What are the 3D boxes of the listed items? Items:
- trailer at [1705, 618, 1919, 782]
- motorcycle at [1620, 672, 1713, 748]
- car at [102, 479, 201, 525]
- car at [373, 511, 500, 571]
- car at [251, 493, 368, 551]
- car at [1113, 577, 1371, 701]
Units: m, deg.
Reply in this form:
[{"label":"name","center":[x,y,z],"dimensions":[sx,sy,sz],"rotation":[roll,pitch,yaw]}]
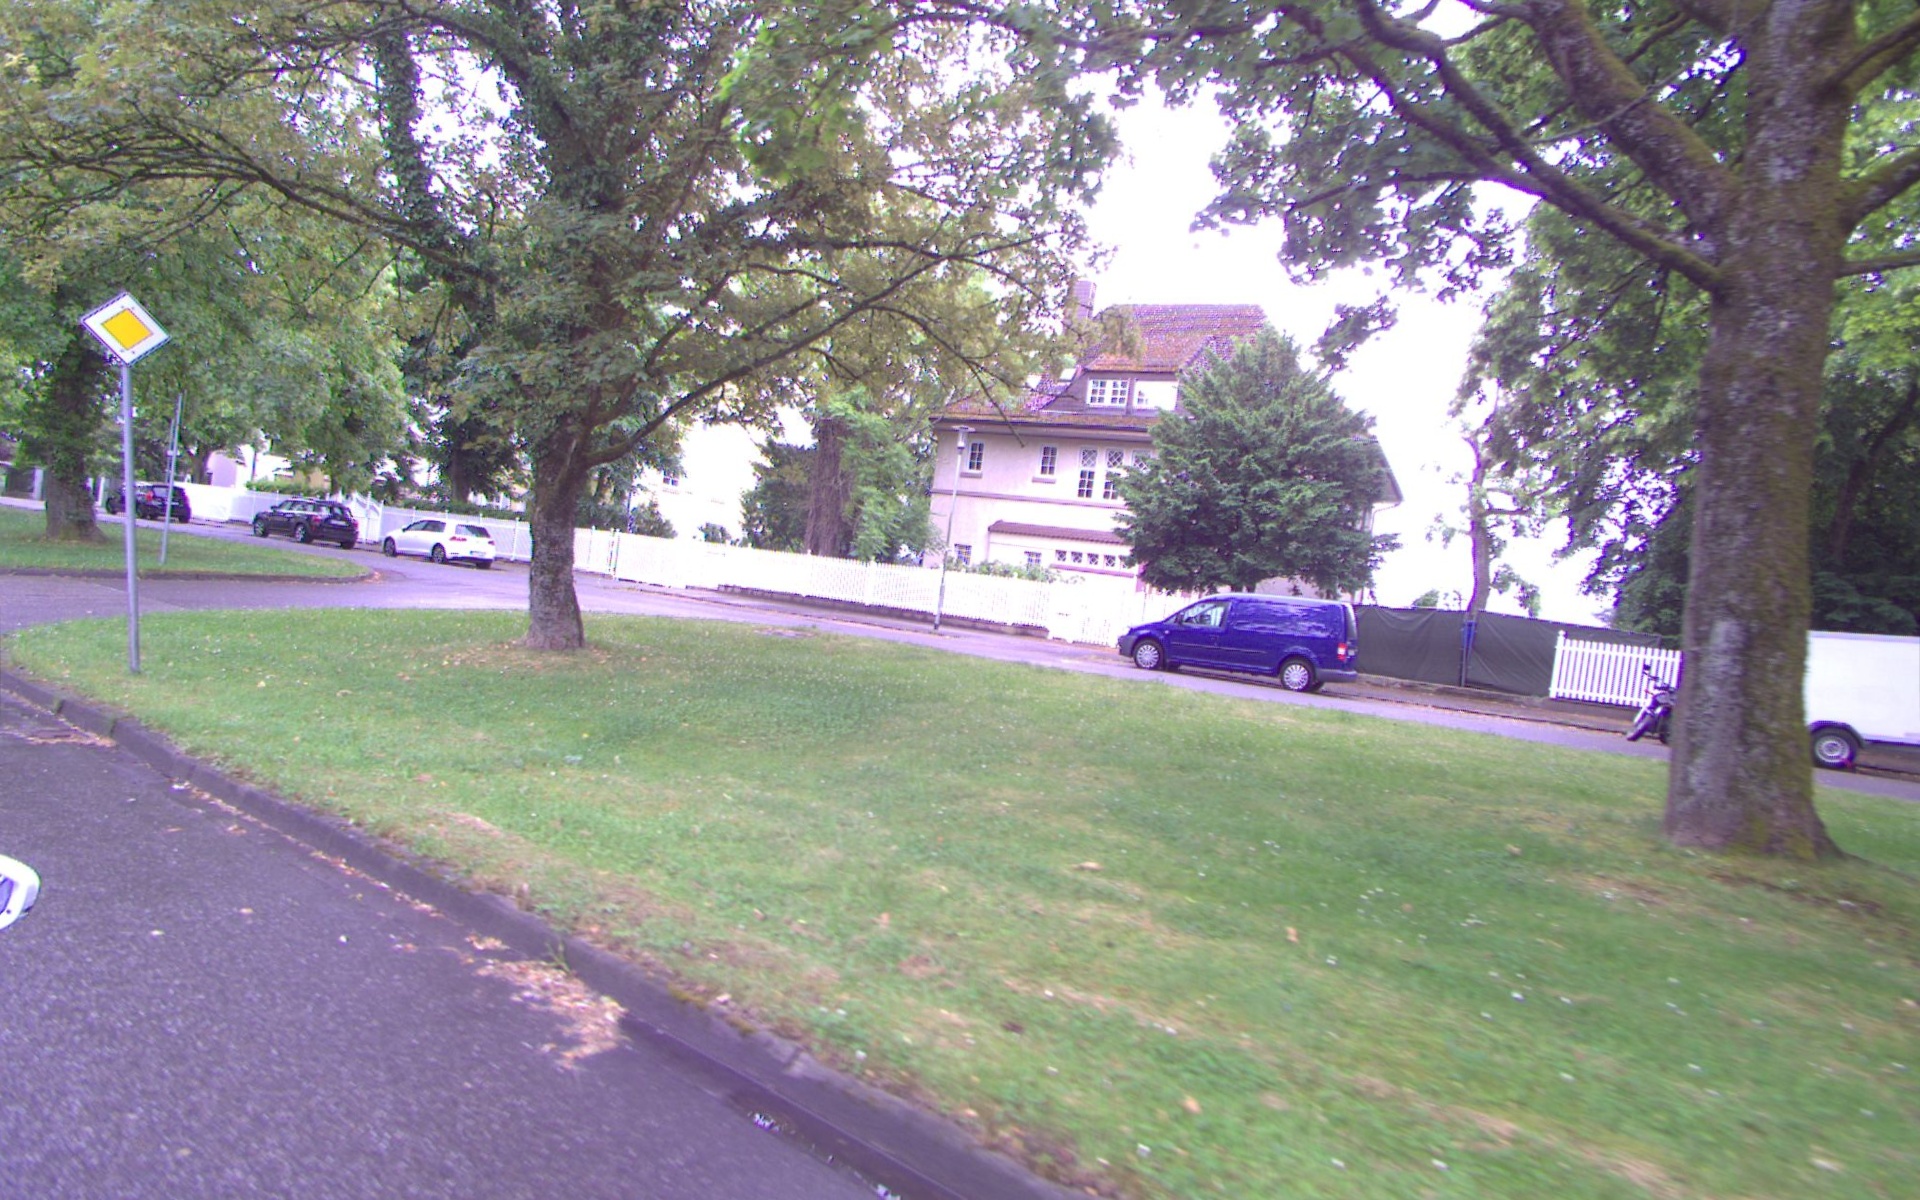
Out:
[{"label":"trailer","center":[13.813,1.543,15.849],"dimensions":[2.899,2.182,1.438],"rotation":[7,2,27]},{"label":"motorcycle","center":[11.794,1.844,16.778],"dimensions":[1.876,1.106,0.651],"rotation":[7,2,-39]},{"label":"car","center":[-33.738,-4.096,41.953],"dimensions":[4.042,1.430,1.803],"rotation":[8,2,30]},{"label":"car","center":[-17.044,-1.921,32.729],"dimensions":[3.939,1.428,1.618],"rotation":[8,2,27]},{"label":"car","center":[-23.389,-2.807,36.147],"dimensions":[4.042,1.550,1.803],"rotation":[8,2,30]},{"label":"car","center":[5.711,0.725,20.491],"dimensions":[4.569,1.833,1.943],"rotation":[8,2,29]}]
